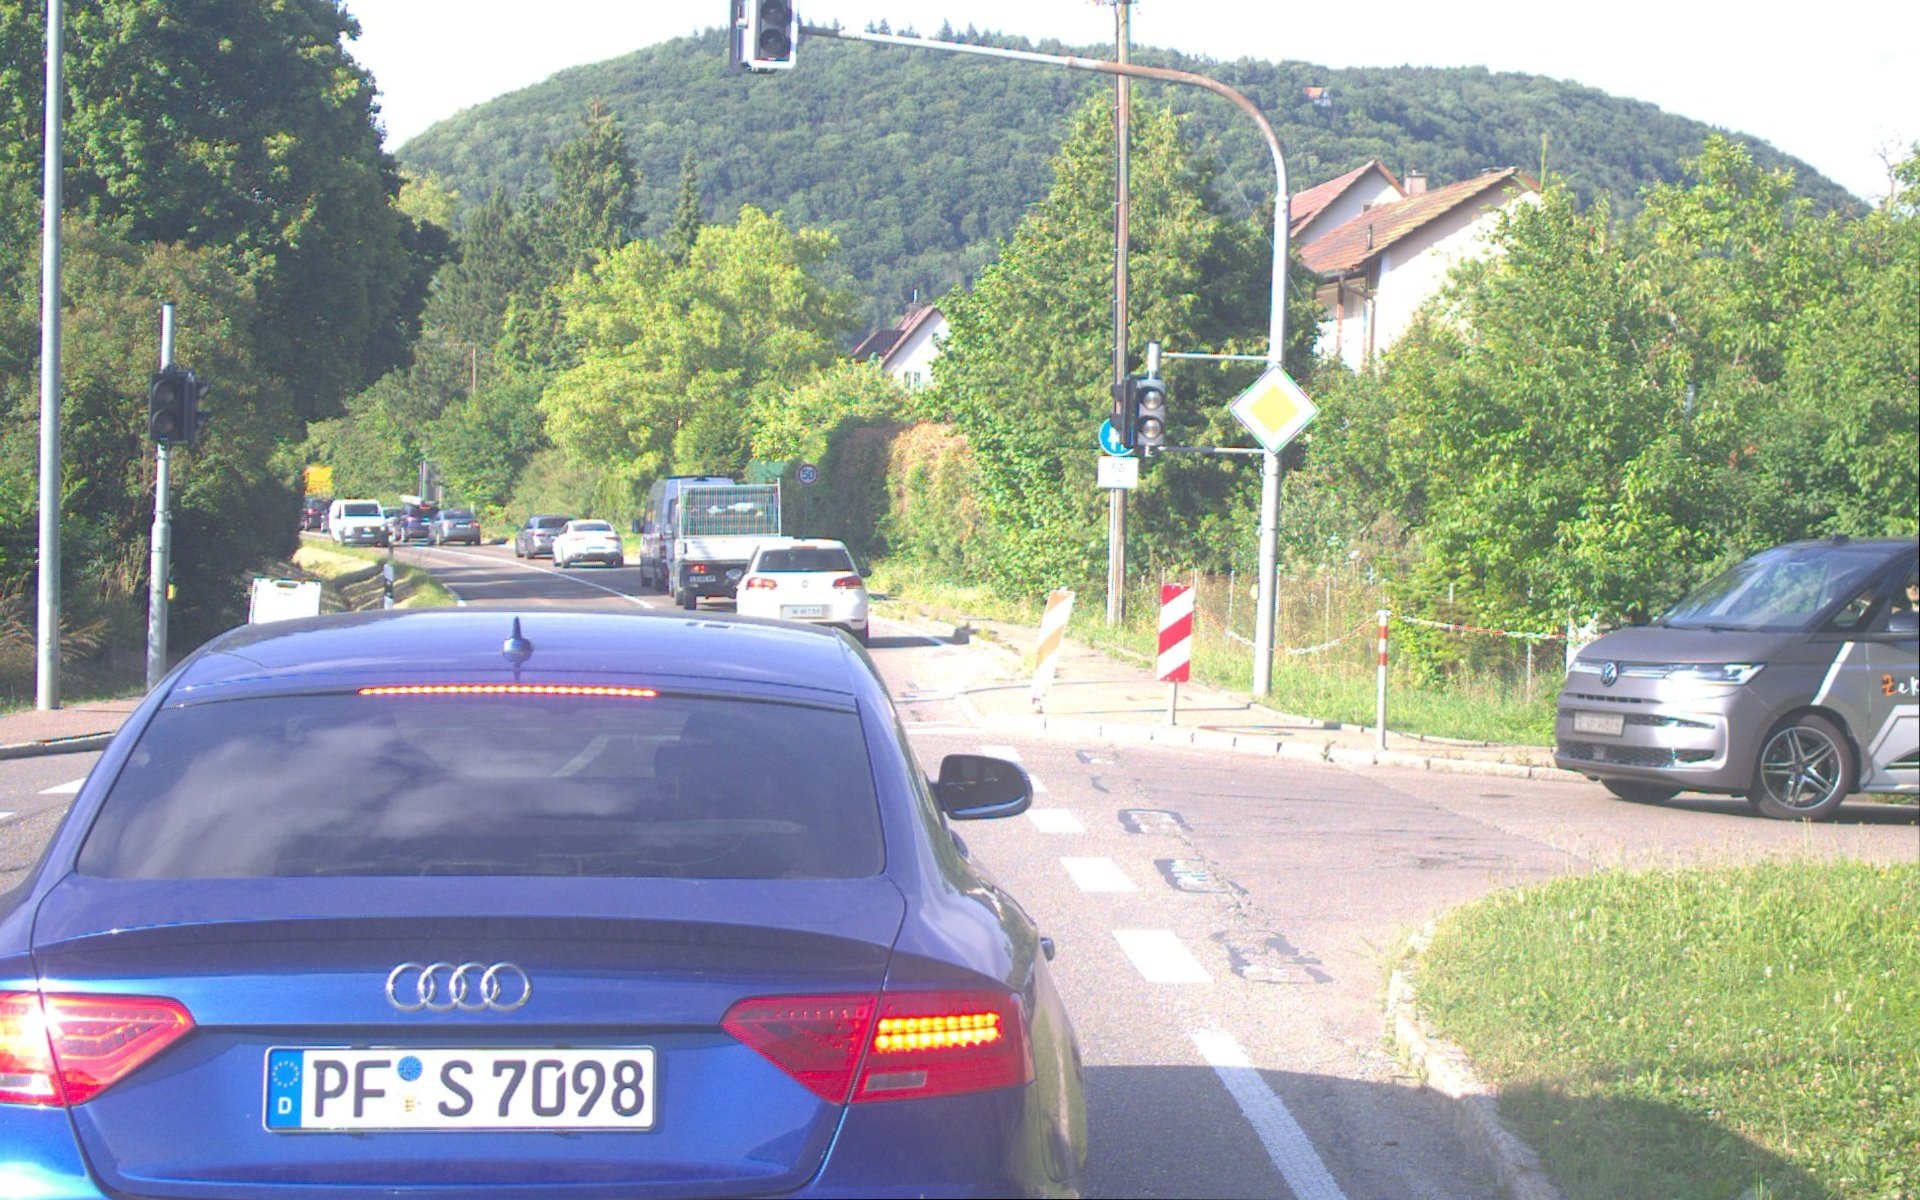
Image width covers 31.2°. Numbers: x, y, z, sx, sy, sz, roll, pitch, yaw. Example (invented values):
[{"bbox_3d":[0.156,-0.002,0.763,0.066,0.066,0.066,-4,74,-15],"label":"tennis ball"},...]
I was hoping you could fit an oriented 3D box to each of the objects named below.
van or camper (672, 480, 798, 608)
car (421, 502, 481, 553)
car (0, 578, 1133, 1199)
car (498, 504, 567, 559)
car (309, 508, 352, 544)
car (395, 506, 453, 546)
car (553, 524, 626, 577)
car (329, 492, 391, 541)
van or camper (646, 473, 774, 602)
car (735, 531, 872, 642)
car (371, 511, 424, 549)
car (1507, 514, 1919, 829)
[{"bbox_3d":[-4.415,-1.118,66.634,2.179,2.377,5.371,0,2,-6],"label":"van or camper"},{"bbox_3d":[-20.620,-2.940,139.131,1.993,2.006,4.002,0,2,-15],"label":"car"},{"bbox_3d":[-0.775,0.701,6.473,1.829,1.404,4.227,-1,1,-2],"label":"car"},{"bbox_3d":[-14.319,-2.300,114.904,1.796,1.787,4.001,-1,1,-14],"label":"car"},{"bbox_3d":[-31.966,-3.771,174.505,1.771,1.776,4.001,-1,1,-16],"label":"car"},{"bbox_3d":[-23.073,-3.211,147.866,2.040,1.678,4.001,0,2,-16],"label":"car"},{"bbox_3d":[-11.193,-1.501,103.649,1.819,1.546,4.001,0,1,-12],"label":"car"},{"bbox_3d":[-24.245,-3.374,138.828,1.993,1.897,5.255,-1,2,-15],"label":"car"},{"bbox_3d":[-5.910,-1.487,80.627,2.414,2.894,6.133,0,2,-9],"label":"van or camper"},{"bbox_3d":[-2.146,-0.215,47.720,1.771,1.410,4.174,2,1,-2],"label":"car"},{"bbox_3d":[-25.626,-3.200,156.419,1.941,1.678,4.001,-1,1,-16],"label":"car"},{"bbox_3d":[6.294,0.474,22.926,4.853,1.870,2.001,2,2,-25],"label":"car"}]
